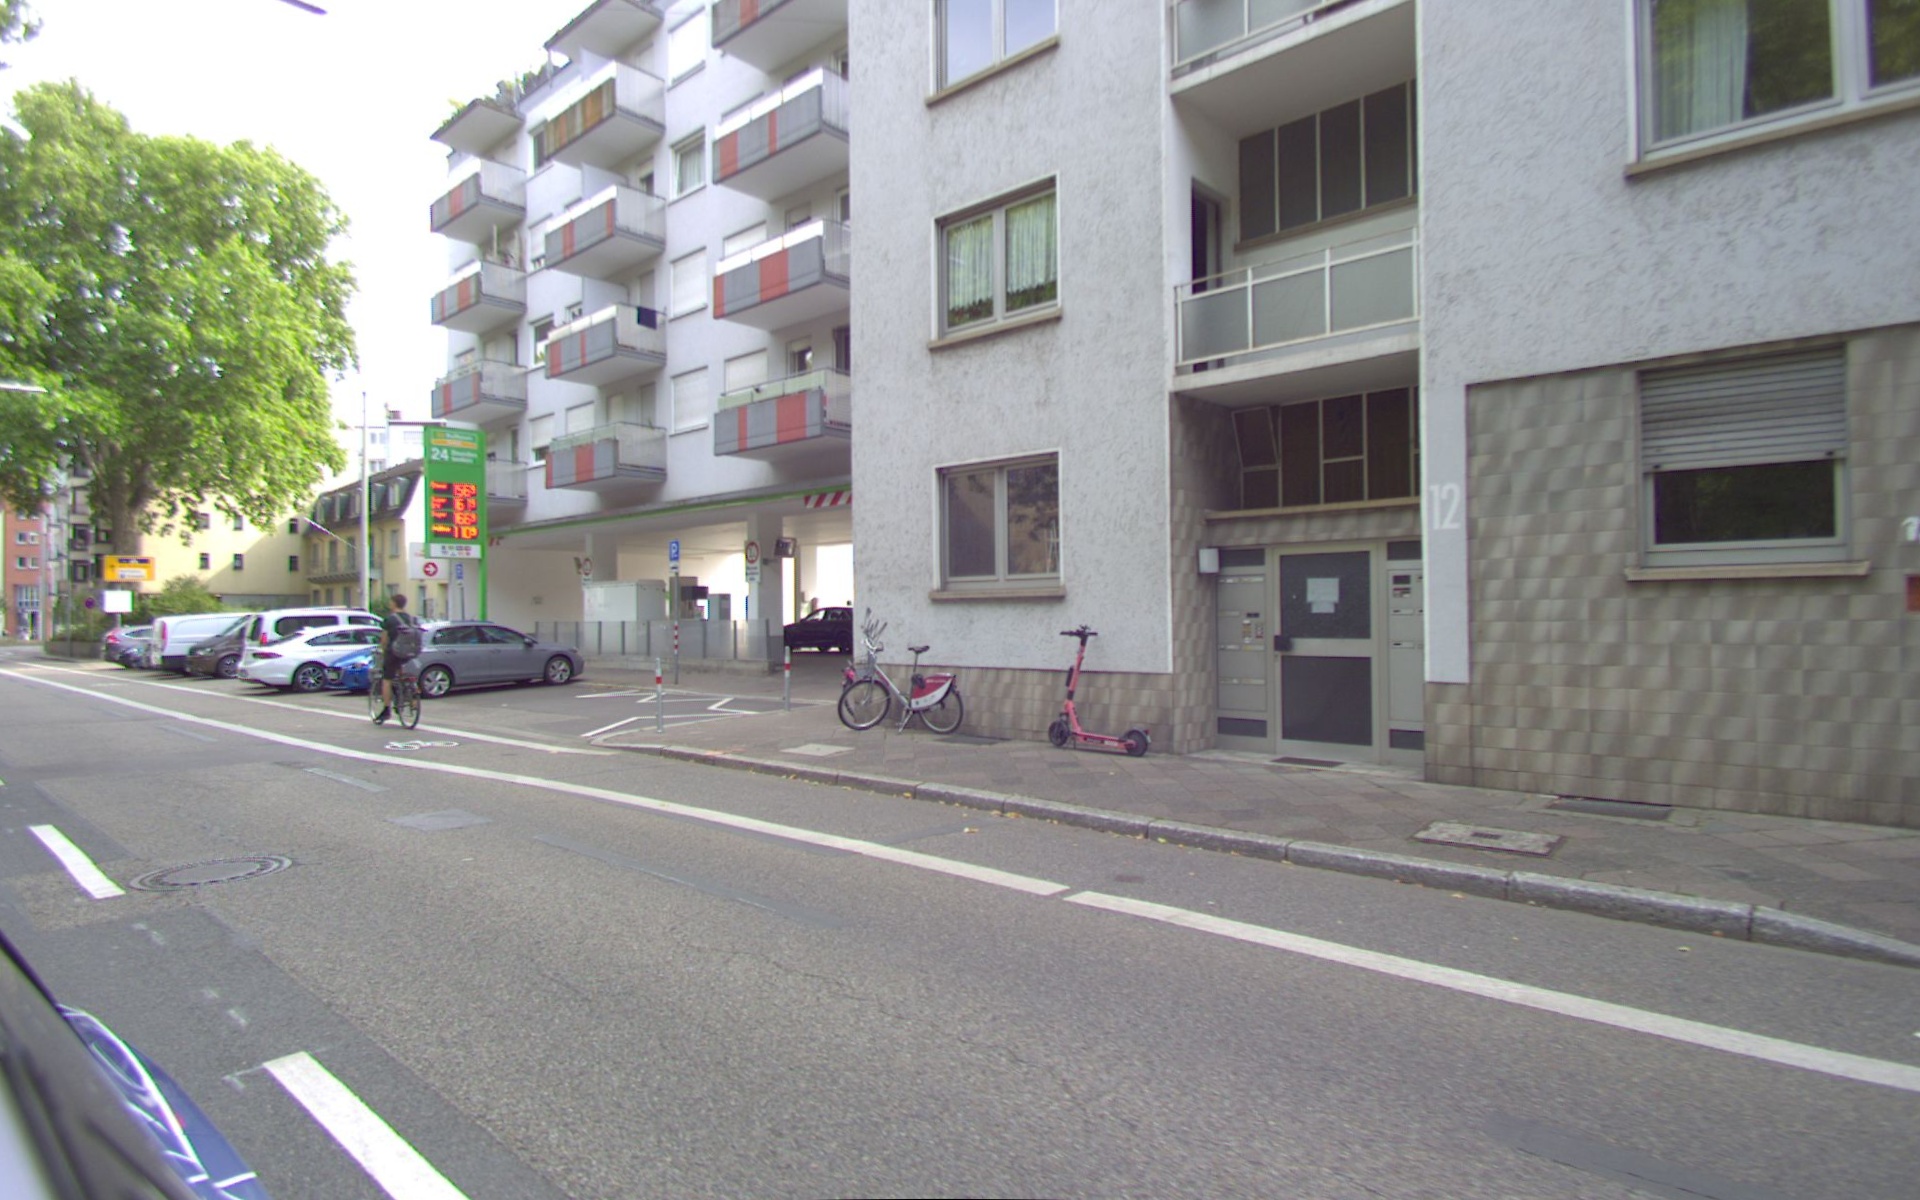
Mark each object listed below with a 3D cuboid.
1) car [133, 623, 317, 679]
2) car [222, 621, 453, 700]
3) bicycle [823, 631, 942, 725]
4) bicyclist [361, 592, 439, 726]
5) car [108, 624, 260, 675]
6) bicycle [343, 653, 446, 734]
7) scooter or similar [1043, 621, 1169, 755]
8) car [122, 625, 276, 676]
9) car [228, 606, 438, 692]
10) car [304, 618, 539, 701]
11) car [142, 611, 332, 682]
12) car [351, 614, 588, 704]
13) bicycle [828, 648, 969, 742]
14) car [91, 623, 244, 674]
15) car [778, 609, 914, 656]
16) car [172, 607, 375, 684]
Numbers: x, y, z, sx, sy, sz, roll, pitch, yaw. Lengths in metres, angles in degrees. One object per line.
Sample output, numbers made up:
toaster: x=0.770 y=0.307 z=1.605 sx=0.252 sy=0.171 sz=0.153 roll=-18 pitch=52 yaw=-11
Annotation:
car: x=-24.506 y=1.649 z=33.878 sx=1.874 sy=1.480 sz=4.655 roll=-2 pitch=1 yaw=42
car: x=-14.455 y=1.345 z=23.683 sx=1.873 sy=1.462 sz=4.226 roll=-2 pitch=1 yaw=42
bicycle: x=-1.008 y=1.008 z=13.542 sx=0.453 sy=1.126 sz=1.753 roll=-2 pitch=-1 yaw=41
bicyclist: x=-7.957 y=0.812 z=14.378 sx=1.045 sy=1.824 sz=0.645 roll=-1 pitch=0 yaw=42
car: x=-29.357 y=1.831 z=38.382 sx=1.732 sy=1.560 sz=4.315 roll=-2 pitch=1 yaw=42
bicycle: x=-8.151 y=1.310 z=14.555 sx=2.076 sy=1.022 sz=0.639 roll=-1 pitch=0 yaw=42
scooter or similar: x=1.410 y=0.829 z=9.872 sx=1.201 sy=1.231 sz=0.346 roll=-2 pitch=-1 yaw=42
car: x=-27.750 y=1.792 z=36.988 sx=1.719 sy=1.522 sz=4.220 roll=-2 pitch=1 yaw=42
car: x=-15.968 y=1.180 z=25.925 sx=1.924 sy=1.861 sz=4.167 roll=-2 pitch=1 yaw=42
car: x=-12.010 y=1.258 z=22.787 sx=1.910 sy=1.462 sz=4.255 roll=-2 pitch=1 yaw=42
car: x=-22.833 y=1.419 z=32.098 sx=1.950 sy=1.873 sz=4.567 roll=-2 pitch=1 yaw=42
car: x=-10.286 y=1.177 z=21.445 sx=1.837 sy=1.525 sz=4.107 roll=-2 pitch=1 yaw=42
bicycle: x=-0.719 y=1.048 z=11.538 sx=1.662 sy=0.957 sz=0.590 roll=-2 pitch=-1 yaw=42
car: x=-31.130 y=1.873 z=39.869 sx=1.754 sy=1.618 sz=4.470 roll=-2 pitch=1 yaw=42
car: x=-3.500 y=0.971 z=30.659 sx=3.998 sy=1.308 sz=1.888 roll=-2 pitch=-1 yaw=41
car: x=-20.744 y=1.306 z=30.744 sx=1.993 sy=1.948 sz=4.716 roll=-2 pitch=1 yaw=42
